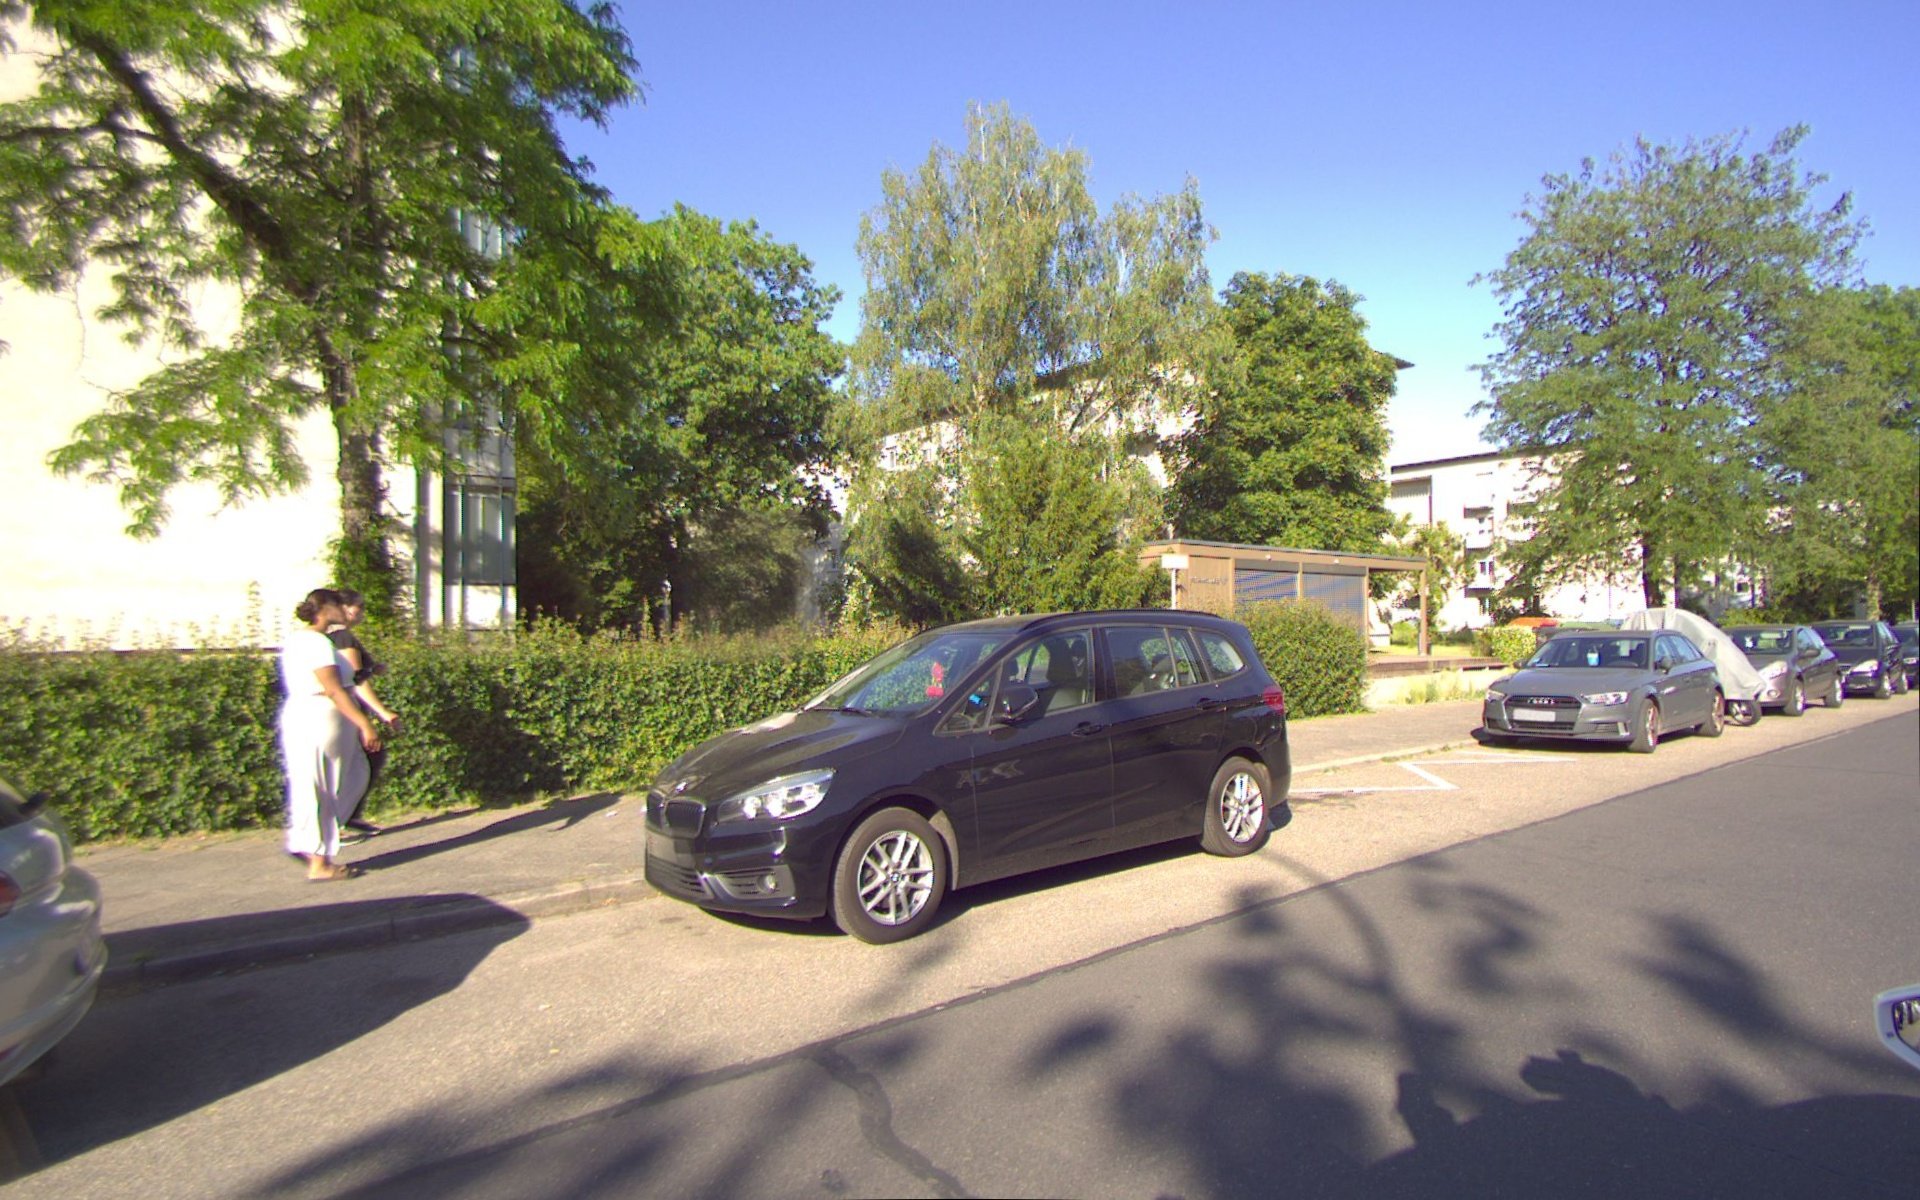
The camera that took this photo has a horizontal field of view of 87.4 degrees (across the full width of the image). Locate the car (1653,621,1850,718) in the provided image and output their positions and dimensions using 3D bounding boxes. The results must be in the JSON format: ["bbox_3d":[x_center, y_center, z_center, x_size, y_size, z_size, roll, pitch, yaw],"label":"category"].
[{"bbox_3d":[13.957,1.170,17.655,3.923,1.500,1.742,1,-4,-37],"label":"car"}]

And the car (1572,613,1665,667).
[{"bbox_3d":[21.958,1.289,33.444,3.968,1.663,1.557,1,-1,-41],"label":"car"}]

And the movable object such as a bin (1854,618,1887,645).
[{"bbox_3d":[51.088,1.743,56.334,1.348,1.440,1.126,0,1,-37],"label":"movable object such as a bin"}]

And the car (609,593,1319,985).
[{"bbox_3d":[0.253,0.876,6.331,4.332,1.656,1.741,1,-4,-39],"label":"car"}]

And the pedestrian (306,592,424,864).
[{"bbox_3d":[-3.999,0.808,6.743,0.594,1.701,0.715,0,-1,-38],"label":"pedestrian"}]

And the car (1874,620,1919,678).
[{"bbox_3d":[27.268,1.367,28.532,3.116,1.594,1.433,1,-4,-40],"label":"car"}]

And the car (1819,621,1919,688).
[{"bbox_3d":[22.602,1.295,24.493,4.500,1.500,1.740,1,-4,-40],"label":"car"}]

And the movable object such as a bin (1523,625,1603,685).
[{"bbox_3d":[13.740,1.231,22.906,1.331,1.305,1.169,0,-1,-38],"label":"movable object such as a bin"}]

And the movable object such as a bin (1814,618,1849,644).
[{"bbox_3d":[48.651,1.720,56.090,1.448,1.440,1.169,0,1,-37],"label":"movable object such as a bin"}]

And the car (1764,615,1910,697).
[{"bbox_3d":[18.624,1.158,21.280,3.690,1.594,1.740,1,-4,-40],"label":"car"}]

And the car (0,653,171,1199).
[{"bbox_3d":[-4.441,0.882,2.206,4.171,1.443,1.742,1,-4,-37],"label":"car"}]

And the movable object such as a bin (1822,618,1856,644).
[{"bbox_3d":[49.861,1.746,56.989,1.448,1.440,1.169,0,1,-37],"label":"movable object such as a bin"}]

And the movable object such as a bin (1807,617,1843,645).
[{"bbox_3d":[47.432,1.698,55.092,1.448,1.440,1.169,0,1,-37],"label":"movable object such as a bin"}]

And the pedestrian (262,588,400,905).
[{"bbox_3d":[-3.689,0.798,5.884,0.611,1.701,0.715,0,-1,-38],"label":"pedestrian"}]

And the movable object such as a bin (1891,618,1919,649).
[{"bbox_3d":[44.206,1.541,46.698,1.428,1.401,1.128,0,1,-37],"label":"movable object such as a bin"}]

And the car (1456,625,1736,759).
[{"bbox_3d":[8.303,1.090,12.978,4.232,1.439,1.741,1,-4,-39],"label":"car"}]

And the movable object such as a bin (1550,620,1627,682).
[{"bbox_3d":[14.879,1.179,23.769,1.331,1.426,1.169,0,-1,-38],"label":"movable object such as a bin"}]

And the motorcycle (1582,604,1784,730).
[{"bbox_3d":[10.811,1.013,15.104,0.925,1.749,2.237,1,-4,-41],"label":"motorcycle"}]

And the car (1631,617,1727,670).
[{"bbox_3d":[22.512,1.321,31.397,3.968,1.545,1.557,1,-1,-41],"label":"car"}]

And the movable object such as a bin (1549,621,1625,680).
[{"bbox_3d":[15.074,1.181,24.150,1.331,1.358,1.169,0,-1,-37],"label":"movable object such as a bin"}]

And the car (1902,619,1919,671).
[{"bbox_3d":[31.583,1.379,31.930,3.933,1.627,1.741,1,-4,-38],"label":"car"}]
